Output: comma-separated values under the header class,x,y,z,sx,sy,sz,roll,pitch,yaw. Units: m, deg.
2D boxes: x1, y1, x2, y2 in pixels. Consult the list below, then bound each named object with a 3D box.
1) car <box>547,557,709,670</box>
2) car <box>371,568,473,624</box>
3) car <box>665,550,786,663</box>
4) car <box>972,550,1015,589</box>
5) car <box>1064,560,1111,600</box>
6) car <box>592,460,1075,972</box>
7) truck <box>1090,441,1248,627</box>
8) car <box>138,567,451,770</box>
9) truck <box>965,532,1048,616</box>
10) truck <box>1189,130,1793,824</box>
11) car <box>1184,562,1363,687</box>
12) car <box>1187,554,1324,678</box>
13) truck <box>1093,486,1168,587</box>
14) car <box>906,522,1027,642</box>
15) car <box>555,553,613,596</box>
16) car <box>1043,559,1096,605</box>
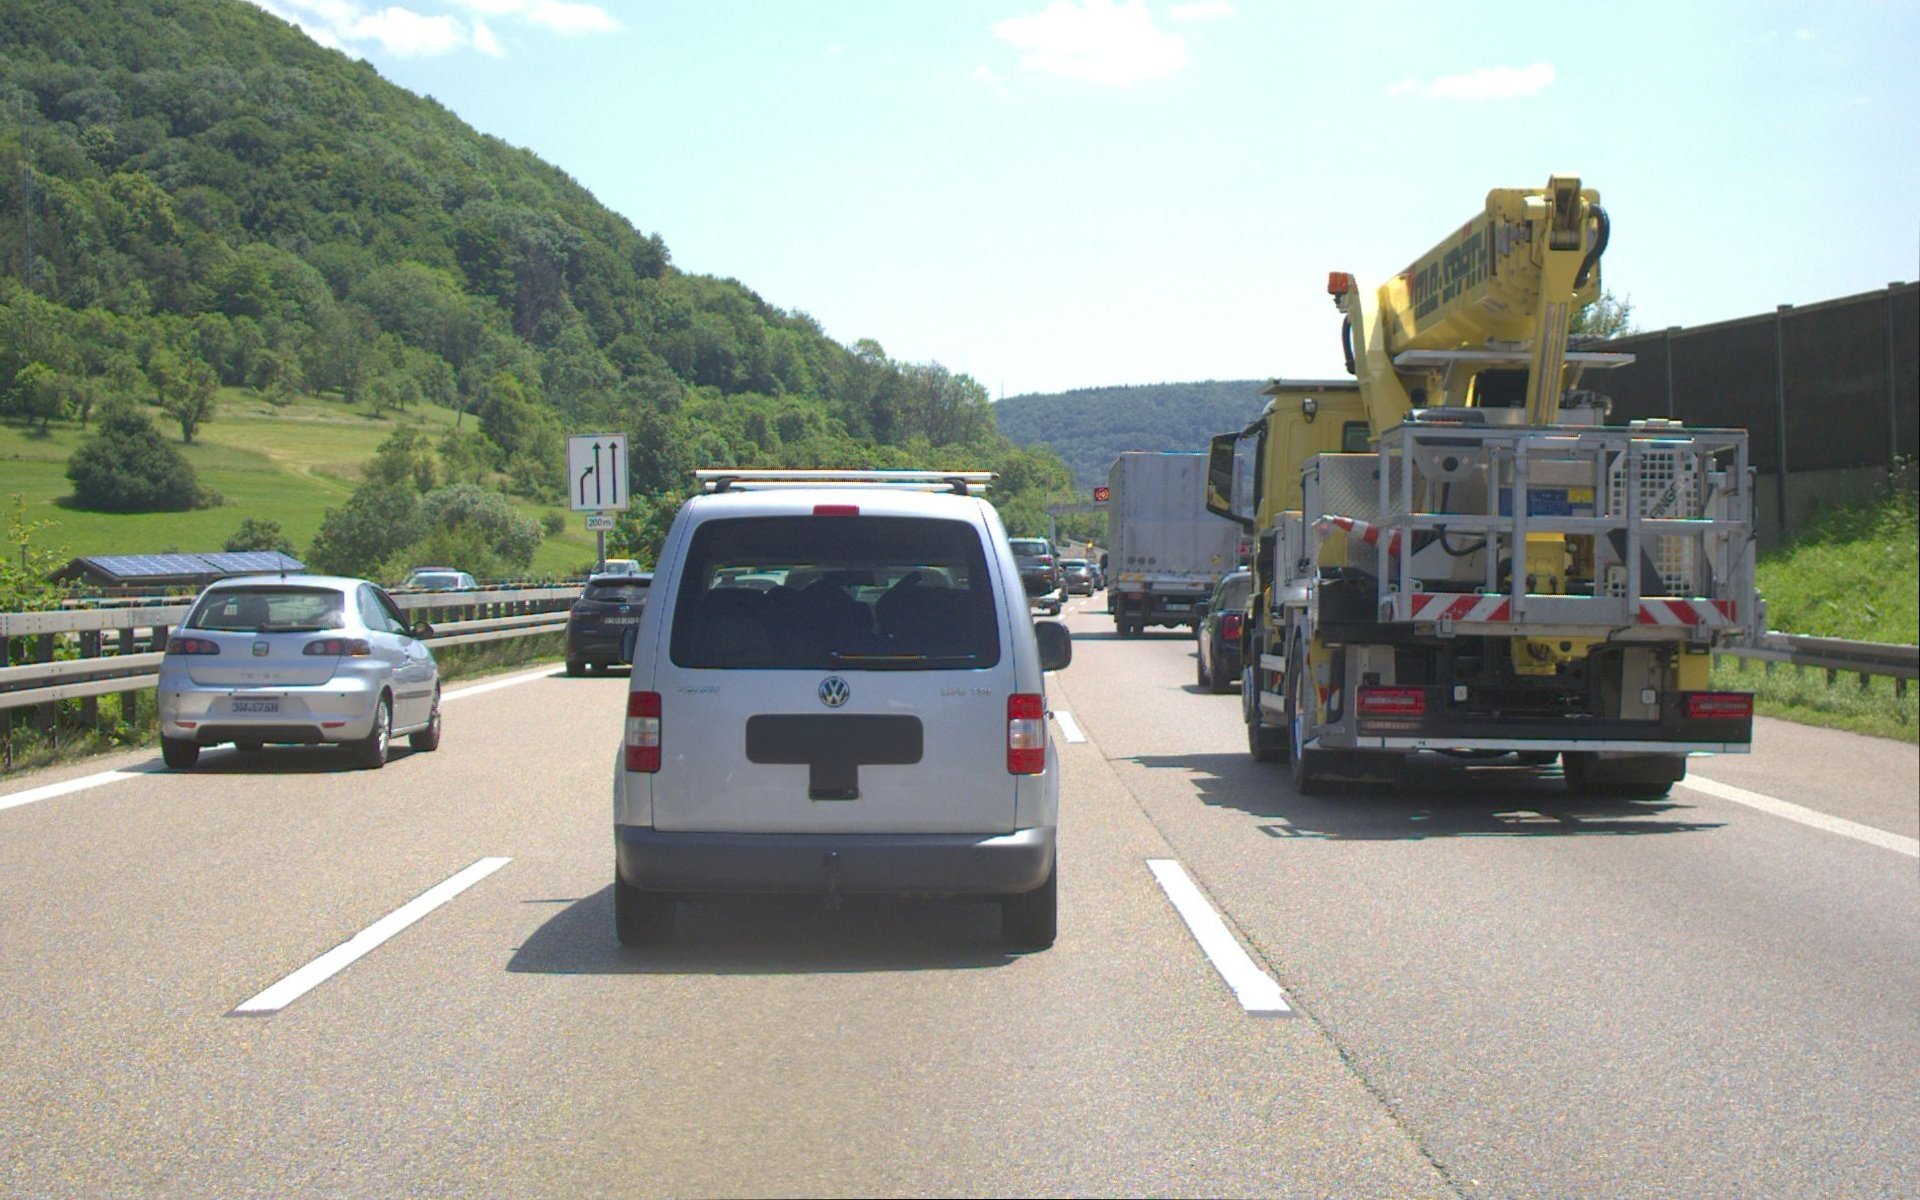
class,x,y,z,sx,sy,sz,roll,pitch,yaw
car,-4.588,0.161,48.030,1.925,1.494,4.000,1,1,-1
car,-14.219,-0.125,91.052,1.993,1.450,4.527,0,1,0
car,-4.319,0.095,63.827,1.993,2.007,4.000,-1,1,-1
car,1.576,-1.413,162.919,1.993,1.799,4.000,1,0,0
car,5.865,-0.905,158.645,1.993,1.799,4.000,1,0,0
car,-0.492,0.400,14.529,1.756,1.861,4.000,0,1,-1
truck,4.467,-1.370,74.950,2.940,3.810,8.236,1,0,0
car,-5.035,0.469,26.470,1.695,1.440,3.862,0,1,-1
truck,1.405,-0.825,107.000,2.390,2.532,5.940,0,1,-1
truck,3.307,-0.749,23.859,2.704,3.929,8.722,0,1,-1
car,3.793,0.264,42.136,1.786,1.453,3.771,0,1,-1
car,4.929,0.238,57.864,1.993,2.007,4.000,0,1,0
truck,5.635,-2.066,114.520,1.993,3.240,6.800,1,0,-1
car,0.076,-0.325,58.482,1.993,1.969,4.000,0,1,-1
car,-16.924,-1.156,154.911,2.060,1.935,4.661,0,1,0
car,4.396,-0.713,138.733,1.993,1.799,4.000,1,0,0
